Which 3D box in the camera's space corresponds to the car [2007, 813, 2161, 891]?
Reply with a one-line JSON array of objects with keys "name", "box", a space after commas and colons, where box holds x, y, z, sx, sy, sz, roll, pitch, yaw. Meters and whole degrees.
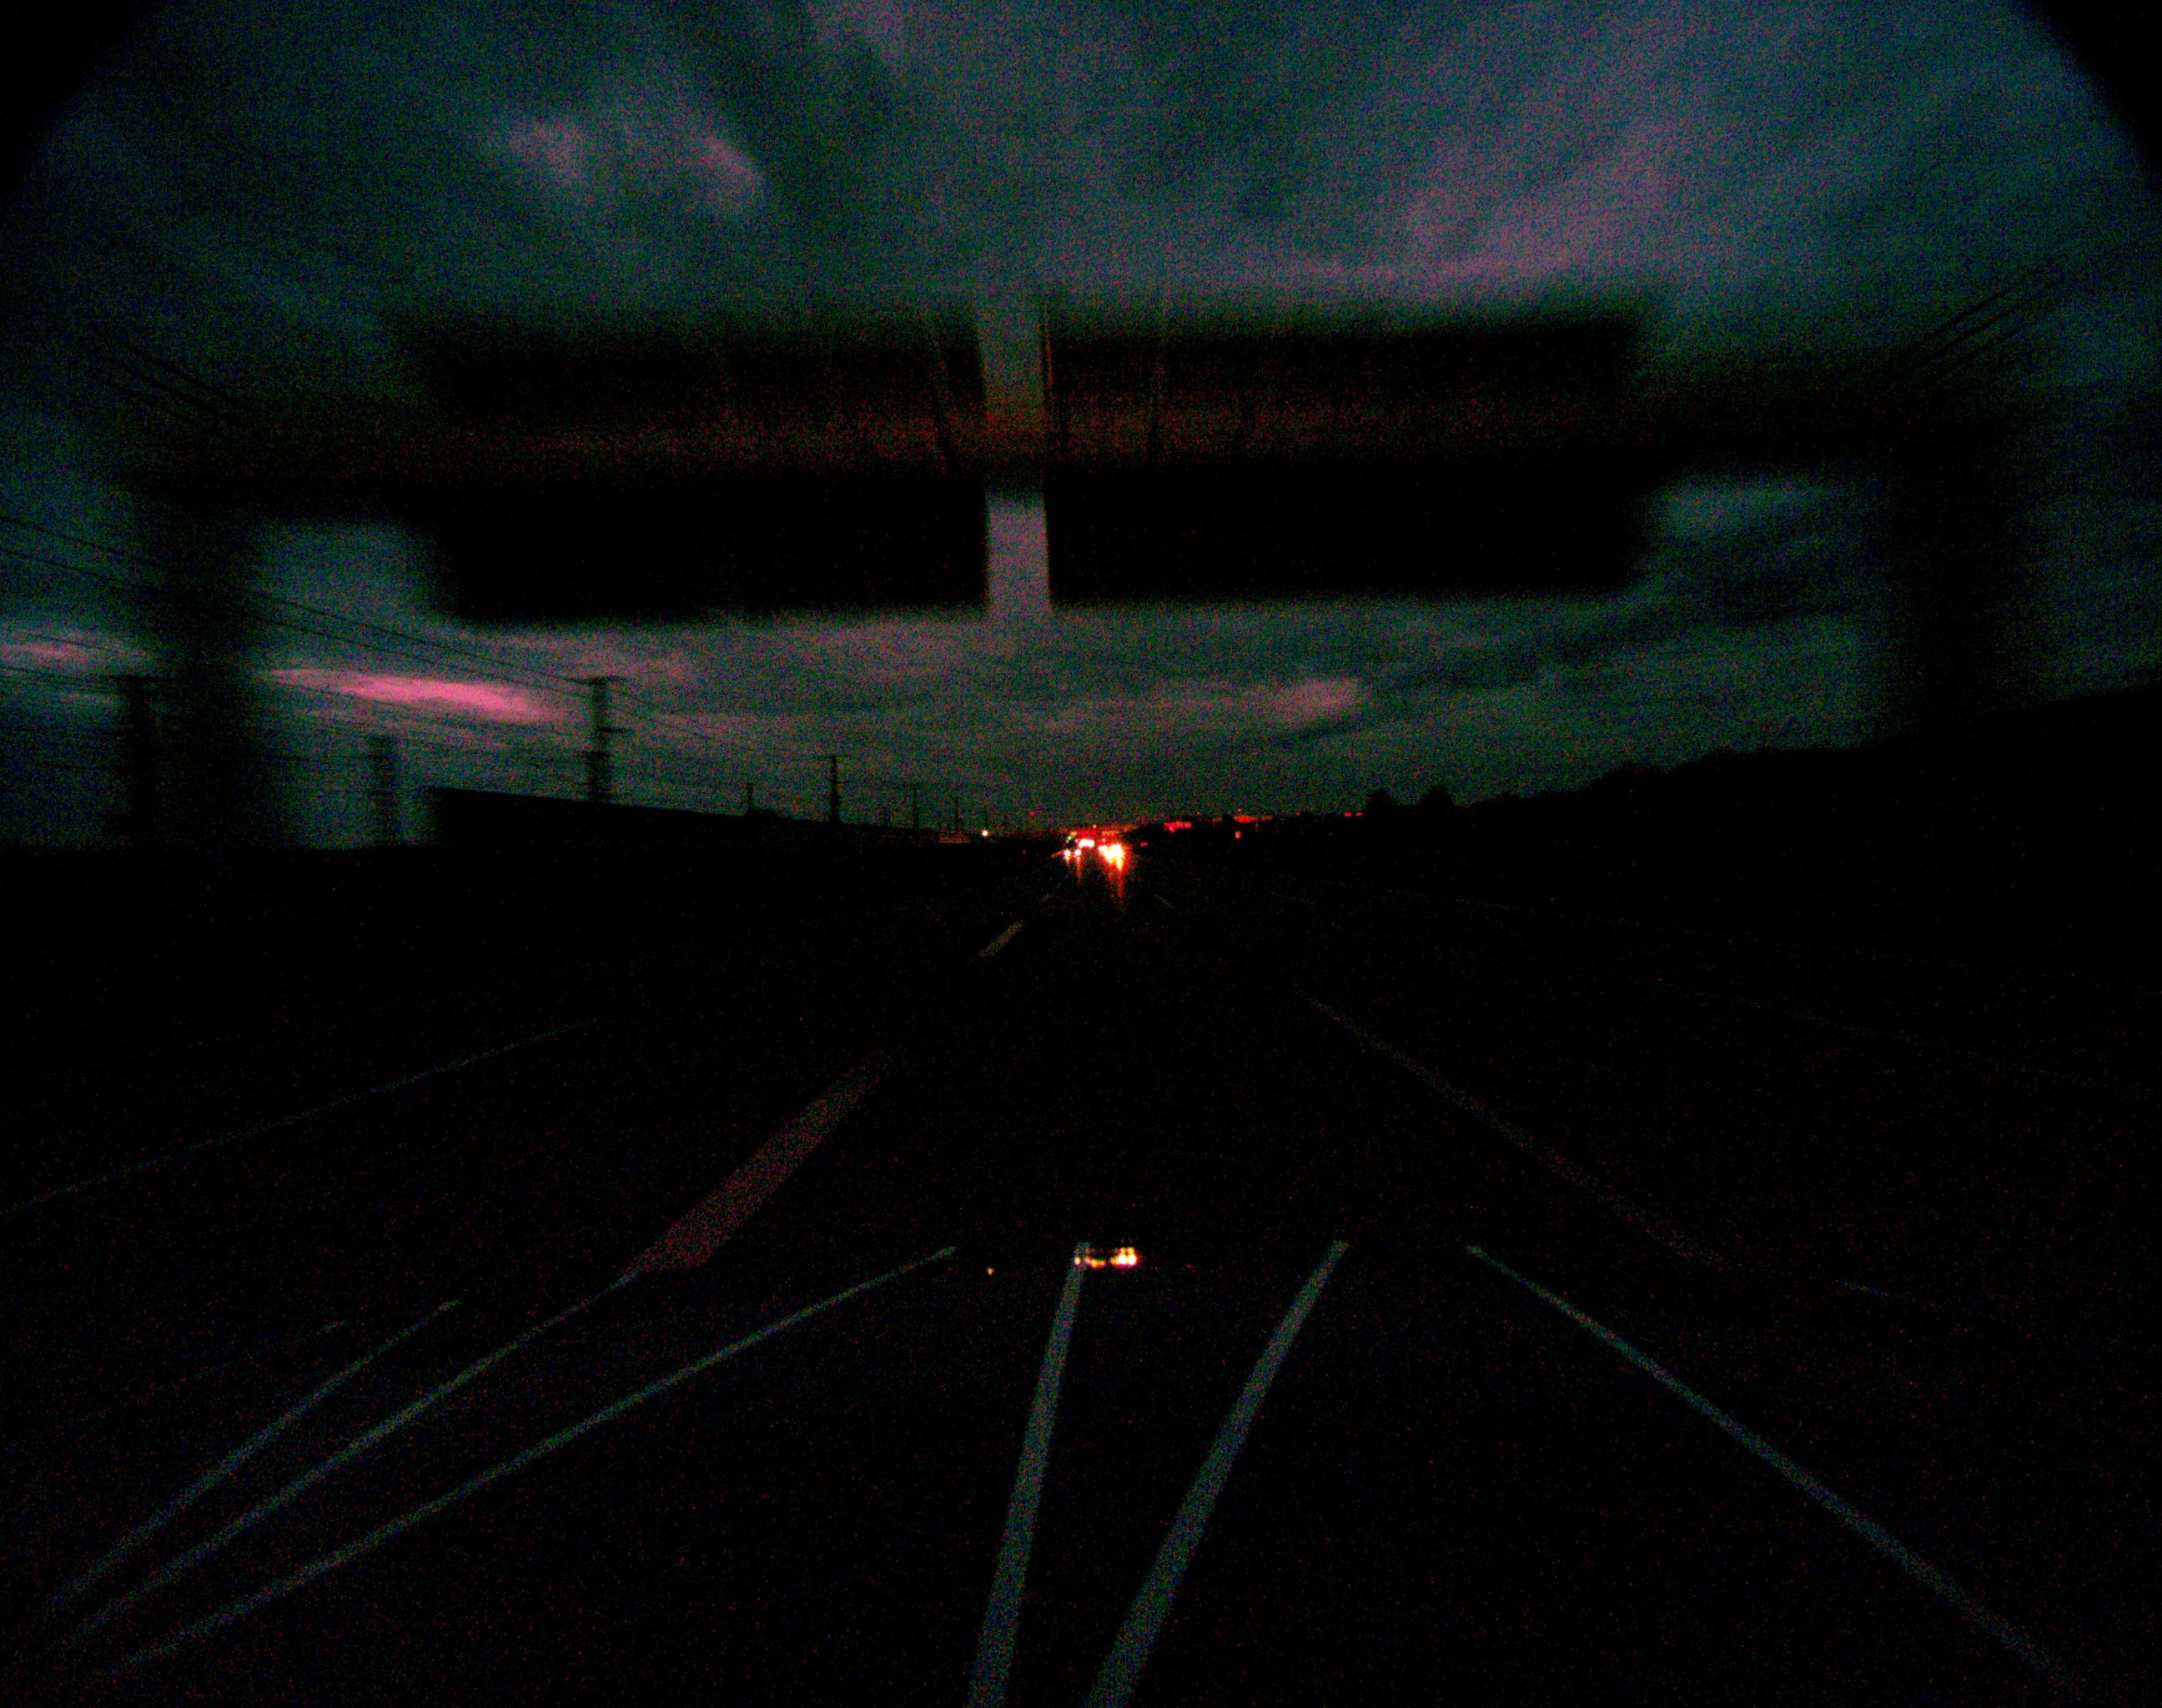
[{"name": "car", "box": [21.287, -0.056, 14.567, 1.694, 1.393, 4.428, -4, 2, 1]}]

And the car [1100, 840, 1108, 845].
[{"name": "car", "box": [6.404, -3.211, 211.860, 1.998, 1.342, 4.174, -3, 1, 1]}]

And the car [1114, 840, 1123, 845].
[{"name": "car", "box": [10.300, -3.238, 210.220, 1.999, 1.342, 4.174, -3, 1, -1]}]

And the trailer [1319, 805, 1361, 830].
[{"name": "trailer", "box": [48.695, -6.775, 143.304, 2.698, 4.048, 12.485, -3, 1, -5]}]

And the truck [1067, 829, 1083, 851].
[{"name": "truck", "box": [-1.152, -2.740, 153.784, 3.060, 4.047, 10.521, 0, 0, 0]}]

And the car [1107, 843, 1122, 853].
[{"name": "car", "box": [4.857, -0.826, 110.855, 1.999, 1.342, 4.174, 2, 1, -1]}]

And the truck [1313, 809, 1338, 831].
[{"name": "truck", "box": [48.163, -6.742, 149.876, 2.698, 4.048, 5.474, -3, 1, -5]}]
